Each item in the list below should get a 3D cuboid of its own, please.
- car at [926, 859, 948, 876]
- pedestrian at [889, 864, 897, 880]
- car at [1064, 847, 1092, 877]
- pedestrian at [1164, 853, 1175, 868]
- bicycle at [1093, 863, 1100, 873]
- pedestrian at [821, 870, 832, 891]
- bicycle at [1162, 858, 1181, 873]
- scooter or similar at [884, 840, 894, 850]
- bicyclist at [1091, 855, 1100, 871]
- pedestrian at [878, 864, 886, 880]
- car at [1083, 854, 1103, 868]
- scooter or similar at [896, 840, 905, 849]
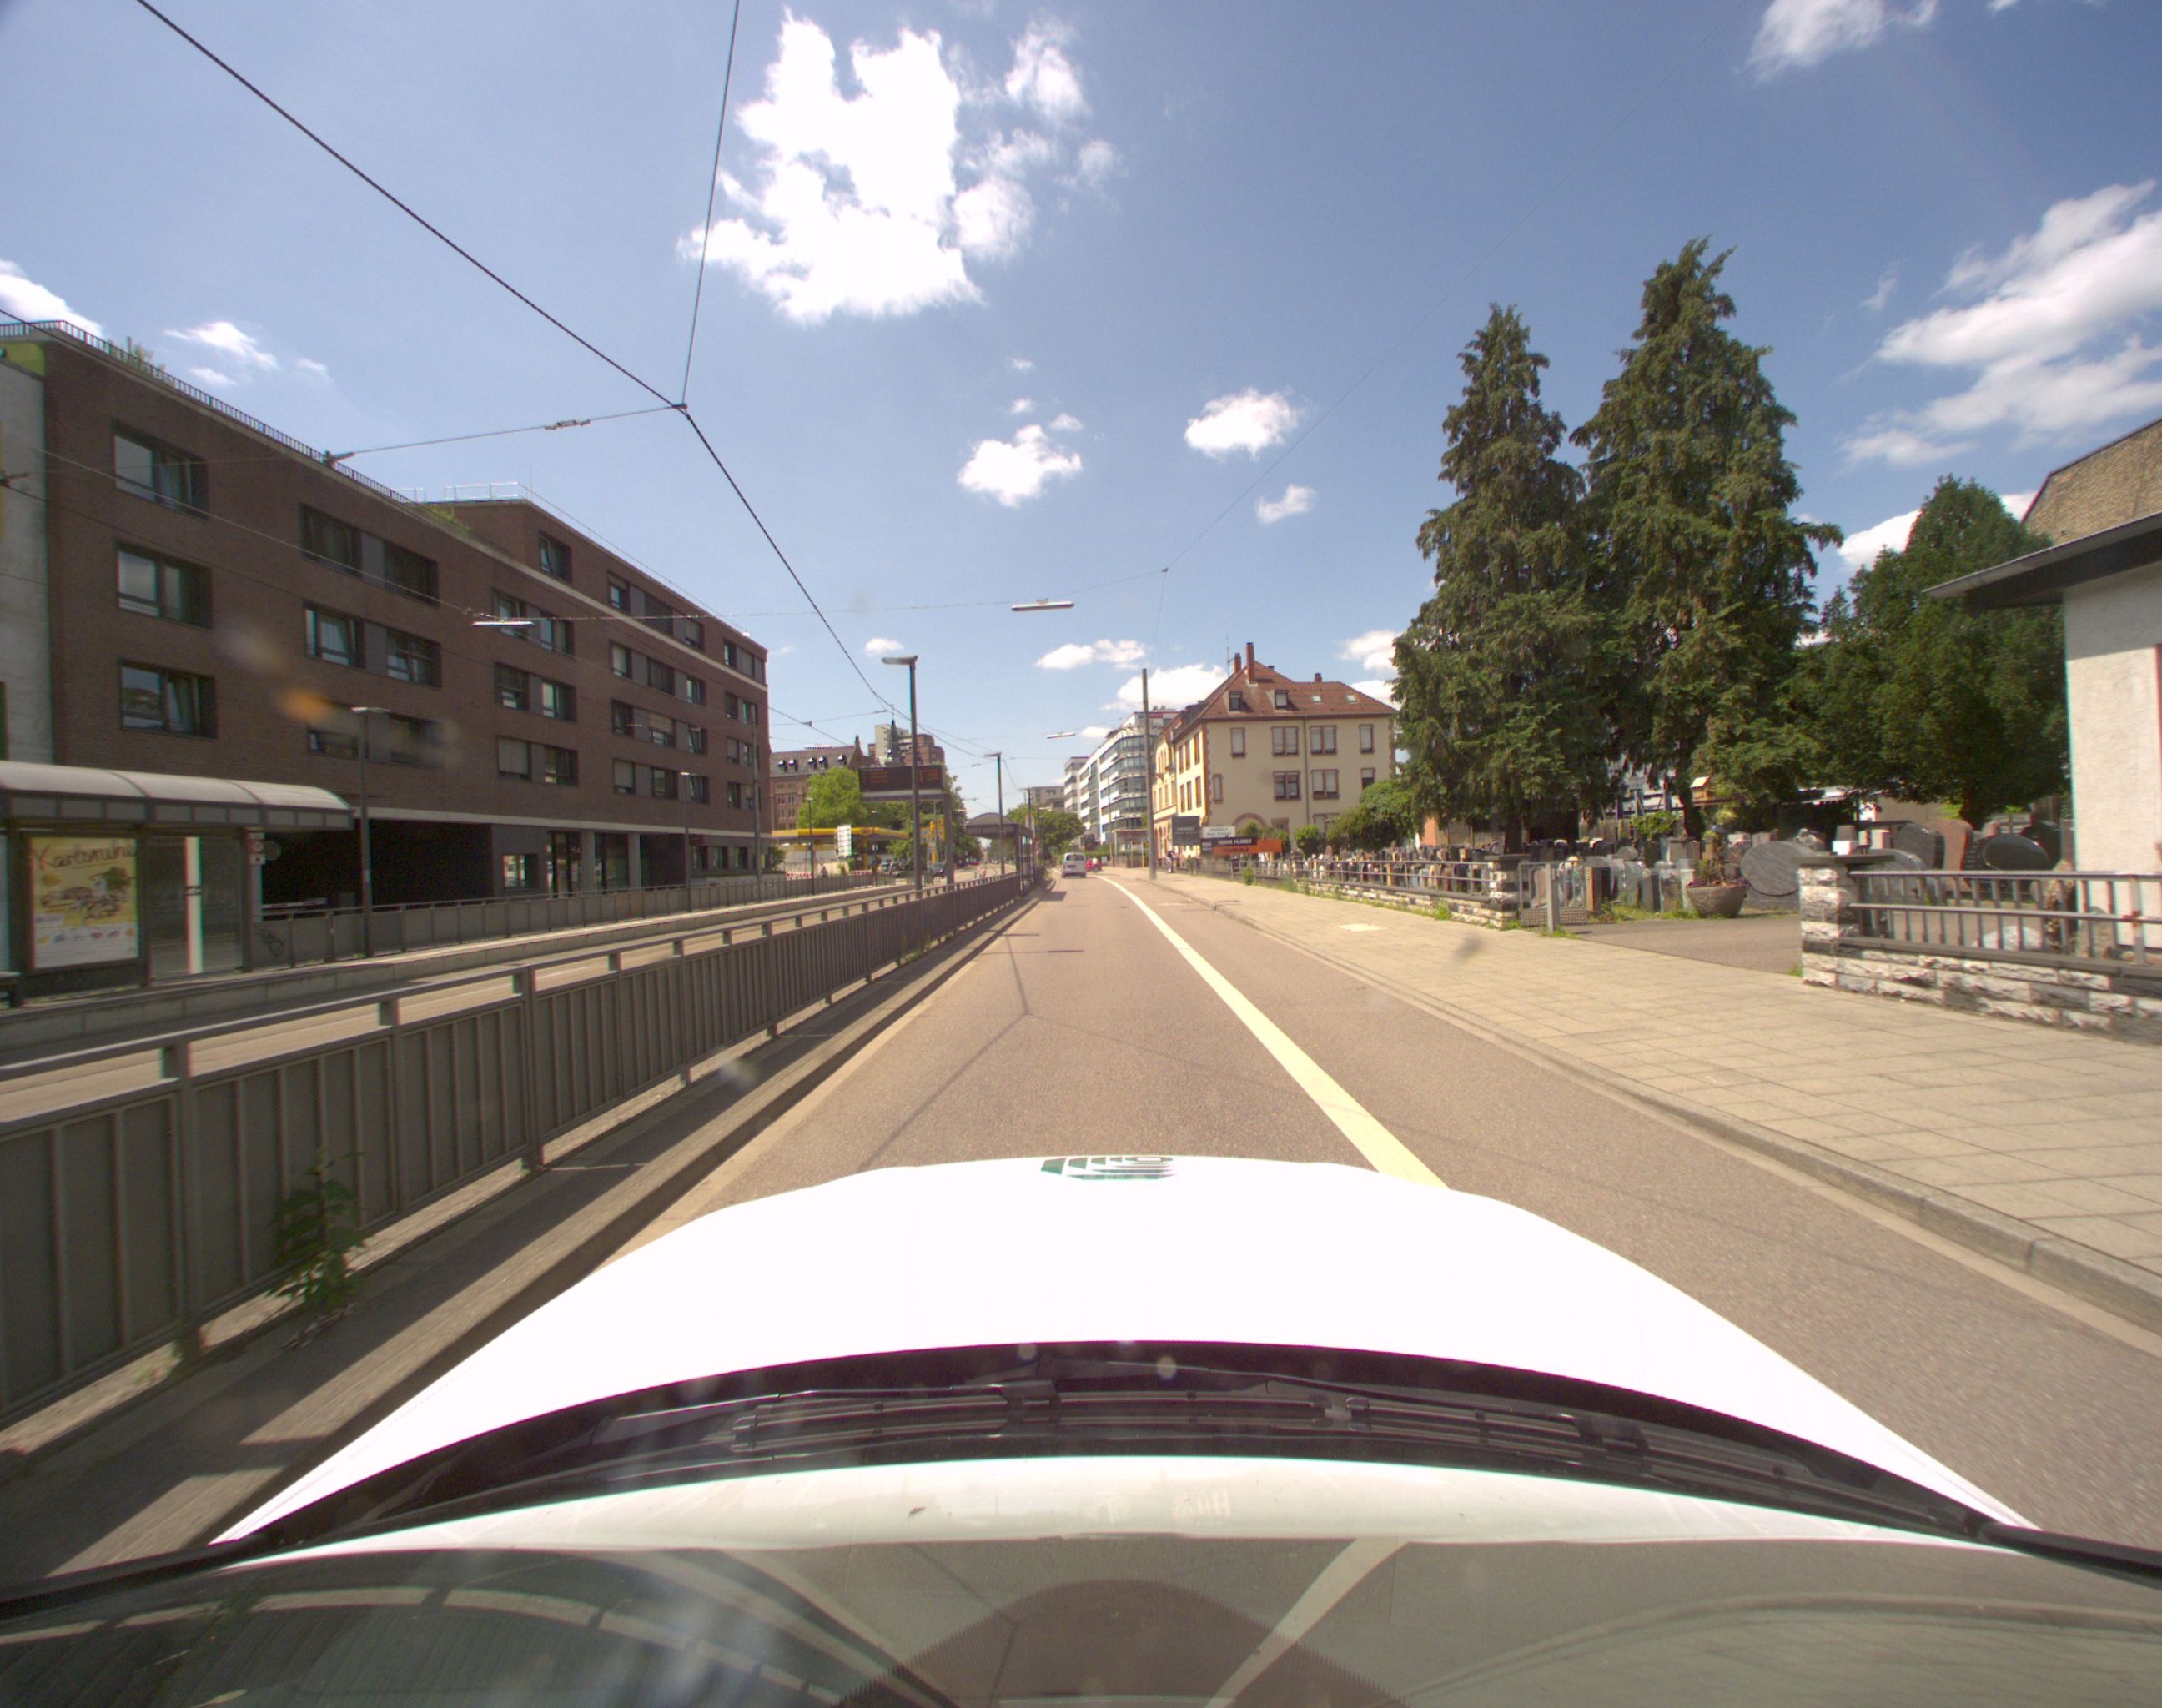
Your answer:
[{"bbox_3d":[-14.557,1.352,82.453,1.695,1.616,3.754,-4,0,-3],"label":"car"},{"bbox_3d":[-20.530,1.937,88.996,0.578,1.671,0.667,-3,0,1],"label":"pedestrian"},{"bbox_3d":[-0.254,0.555,60.474,1.749,2.013,3.995,-5,1,-4],"label":"car"},{"bbox_3d":[6.379,0.453,58.640,0.487,1.053,0.530,-4,-2,-41],"label":"pedestrian"},{"bbox_3d":[1.335,1.228,72.164,0.464,0.887,2.047,-3,0,-2],"label":"bicycle"},{"bbox_3d":[-17.184,1.790,55.034,0.434,1.384,0.536,-5,-1,1],"label":"pedestrian"},{"bbox_3d":[6.506,0.827,58.611,0.359,0.940,1.301,-4,-2,-45],"label":"bicycle"},{"bbox_3d":[-30.806,-1.385,130.745,1.308,1.466,1.060,-4,-1,4],"label":"scooter or similar"},{"bbox_3d":[1.280,0.787,72.150,0.591,1.396,0.839,-3,0,-7],"label":"bicyclist"},{"bbox_3d":[-21.535,1.983,88.067,0.551,1.658,0.672,-3,0,0],"label":"pedestrian"},{"bbox_3d":[1.338,0.770,91.694,1.710,1.452,4.063,-5,1,-7],"label":"car"},{"bbox_3d":[-28.983,-1.499,130.666,1.169,1.466,1.058,-4,-1,-2],"label":"scooter or similar"}]
